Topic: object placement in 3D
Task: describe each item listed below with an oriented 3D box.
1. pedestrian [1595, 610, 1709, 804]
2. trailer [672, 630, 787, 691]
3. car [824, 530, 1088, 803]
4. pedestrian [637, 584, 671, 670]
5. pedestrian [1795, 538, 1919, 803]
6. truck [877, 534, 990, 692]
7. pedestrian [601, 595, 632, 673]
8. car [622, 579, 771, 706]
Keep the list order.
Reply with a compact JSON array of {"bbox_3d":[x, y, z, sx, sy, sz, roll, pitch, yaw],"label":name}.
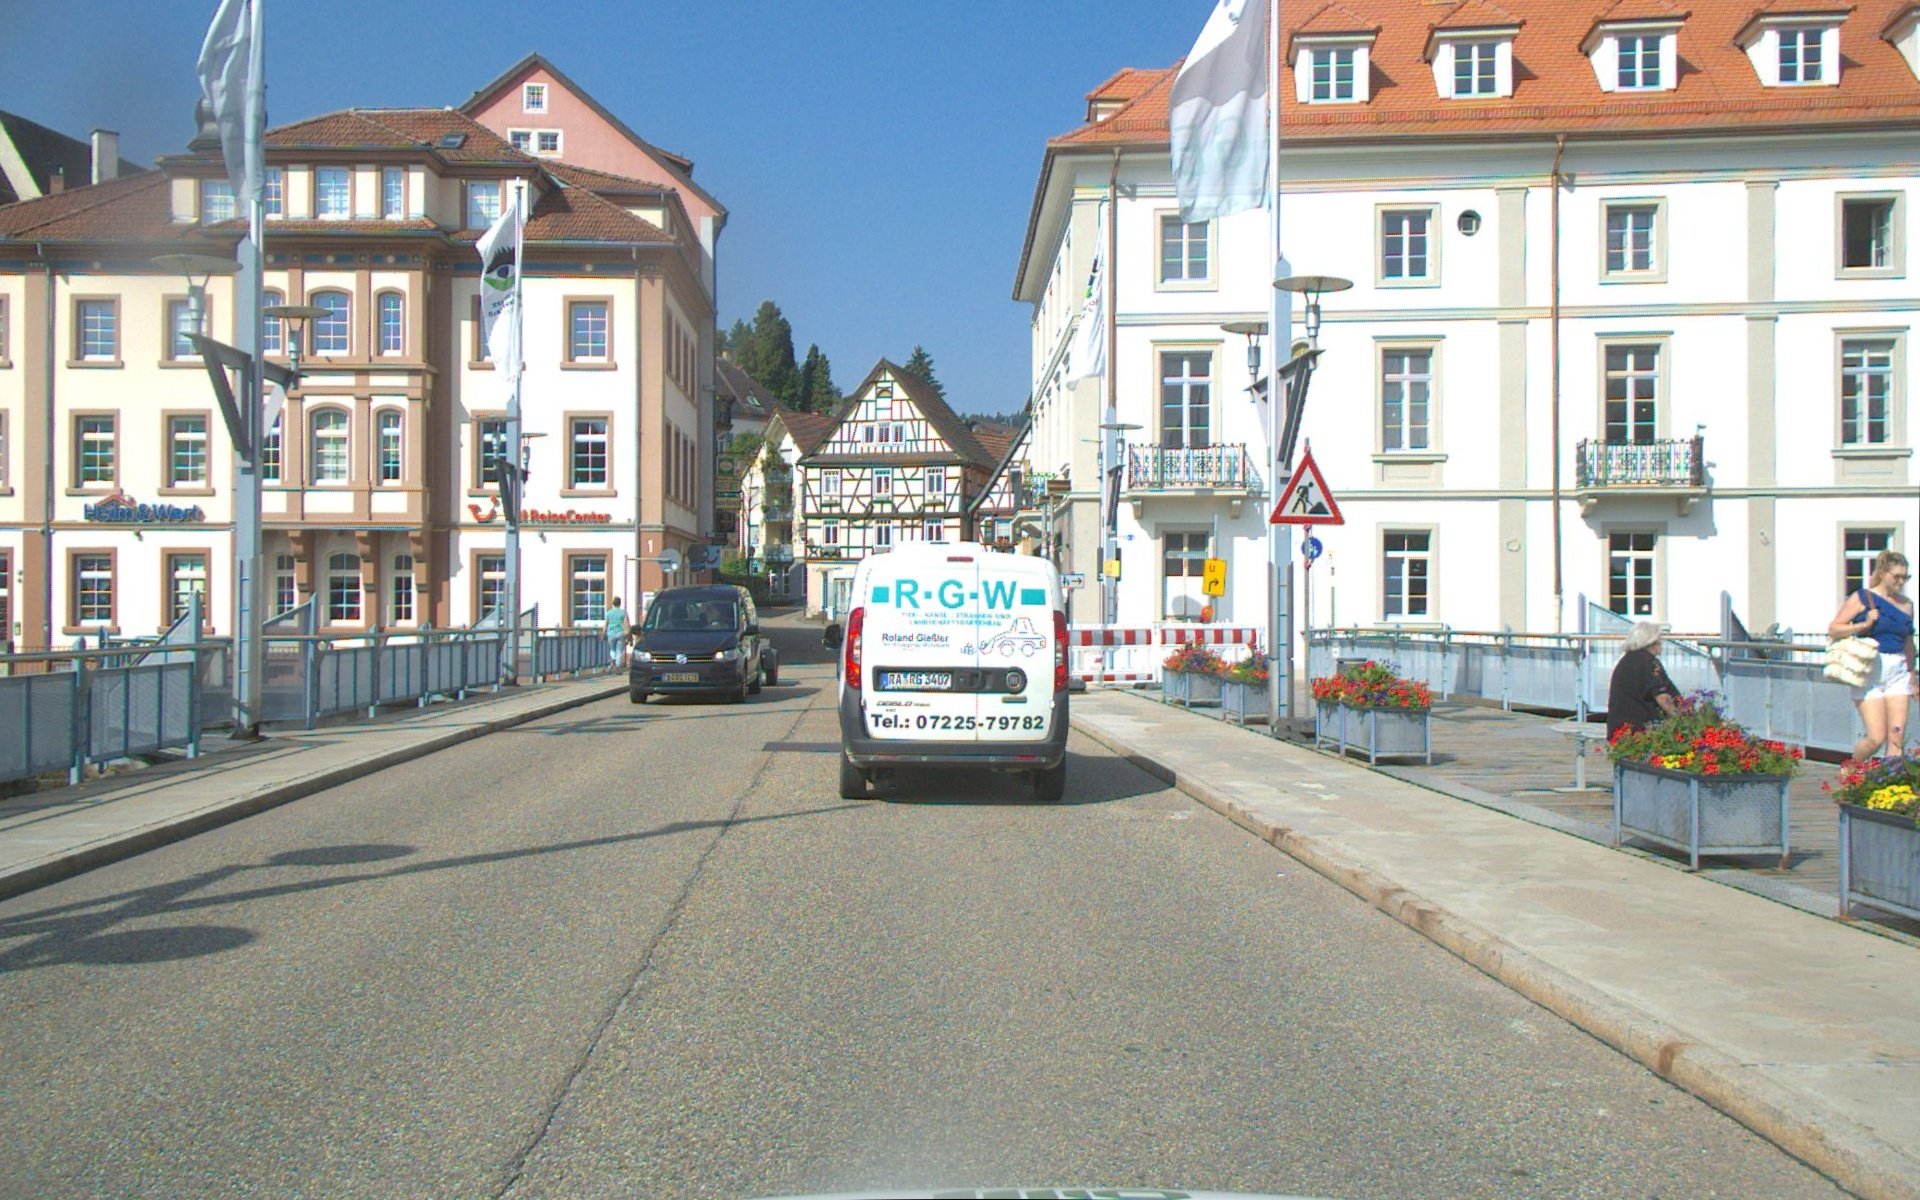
[{"bbox_3d":[4.673,0.704,11.196,0.443,1.266,0.625,0,-1,-8],"label":"pedestrian"},{"bbox_3d":[-4.232,1.087,30.943,1.715,1.040,4.183,-1,-1,-2],"label":"trailer"},{"bbox_3d":[-0.195,0.488,14.003,1.808,1.939,4.309,1,0,-6],"label":"car"},{"bbox_3d":[-6.517,0.569,35.226,0.602,1.793,0.863,1,0,-5],"label":"pedestrian"},{"bbox_3d":[6.272,0.465,11.313,0.711,1.753,0.747,0,0,-4],"label":"pedestrian"},{"bbox_3d":[-0.546,0.222,29.755,1.824,2.630,4.257,1,0,-4],"label":"truck"},{"bbox_3d":[-7.327,0.712,35.300,0.572,1.638,0.537,1,0,-5],"label":"pedestrian"},{"bbox_3d":[-4.109,0.597,26.500,1.741,1.824,4.695,1,0,-2],"label":"car"}]
